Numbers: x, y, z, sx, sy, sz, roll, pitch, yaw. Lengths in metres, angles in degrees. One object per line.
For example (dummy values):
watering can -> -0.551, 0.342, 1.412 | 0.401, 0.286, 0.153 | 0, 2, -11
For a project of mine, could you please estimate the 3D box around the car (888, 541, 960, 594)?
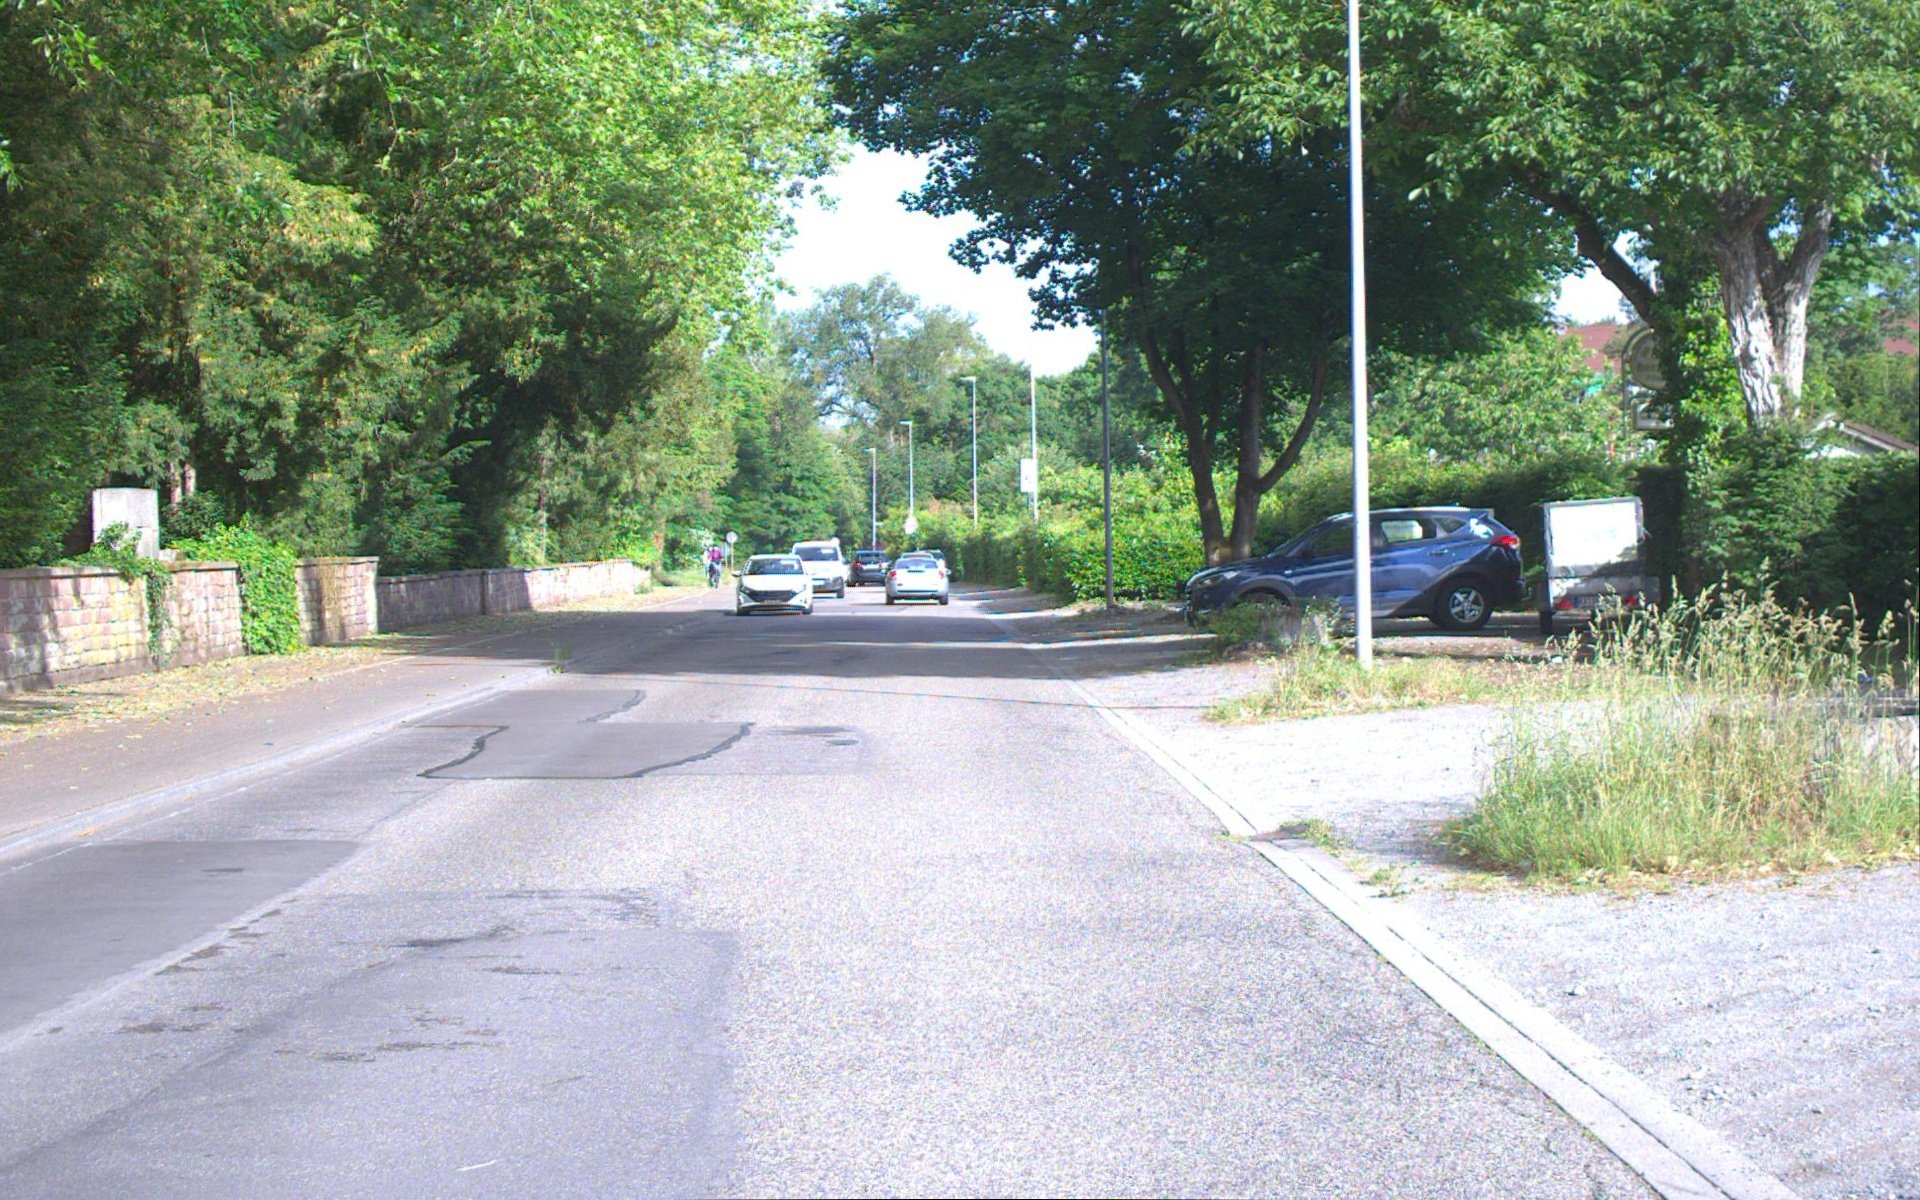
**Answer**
car -> -1.026, -0.925, 95.475 | 1.886, 1.367, 4.055 | -1, 1, -2

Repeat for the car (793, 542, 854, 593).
car -> -4.395, -1.071, 110.951 | 1.886, 1.559, 4.055 | -1, 1, -2

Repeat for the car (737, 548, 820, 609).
car -> -4.343, -0.529, 82.173 | 1.886, 1.367, 4.055 | -2, 1, -3

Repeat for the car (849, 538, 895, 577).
car -> -3.798, -1.837, 147.857 | 1.886, 1.608, 4.055 | -1, 1, -2

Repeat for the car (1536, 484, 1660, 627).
car -> 8.035, -0.602, 43.496 | 1.351, 1.627, 4.110 | -4, 1, 10

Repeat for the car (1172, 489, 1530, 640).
car -> 5.110, -0.483, 45.386 | 4.403, 1.641, 2.000 | -4, 1, 0
